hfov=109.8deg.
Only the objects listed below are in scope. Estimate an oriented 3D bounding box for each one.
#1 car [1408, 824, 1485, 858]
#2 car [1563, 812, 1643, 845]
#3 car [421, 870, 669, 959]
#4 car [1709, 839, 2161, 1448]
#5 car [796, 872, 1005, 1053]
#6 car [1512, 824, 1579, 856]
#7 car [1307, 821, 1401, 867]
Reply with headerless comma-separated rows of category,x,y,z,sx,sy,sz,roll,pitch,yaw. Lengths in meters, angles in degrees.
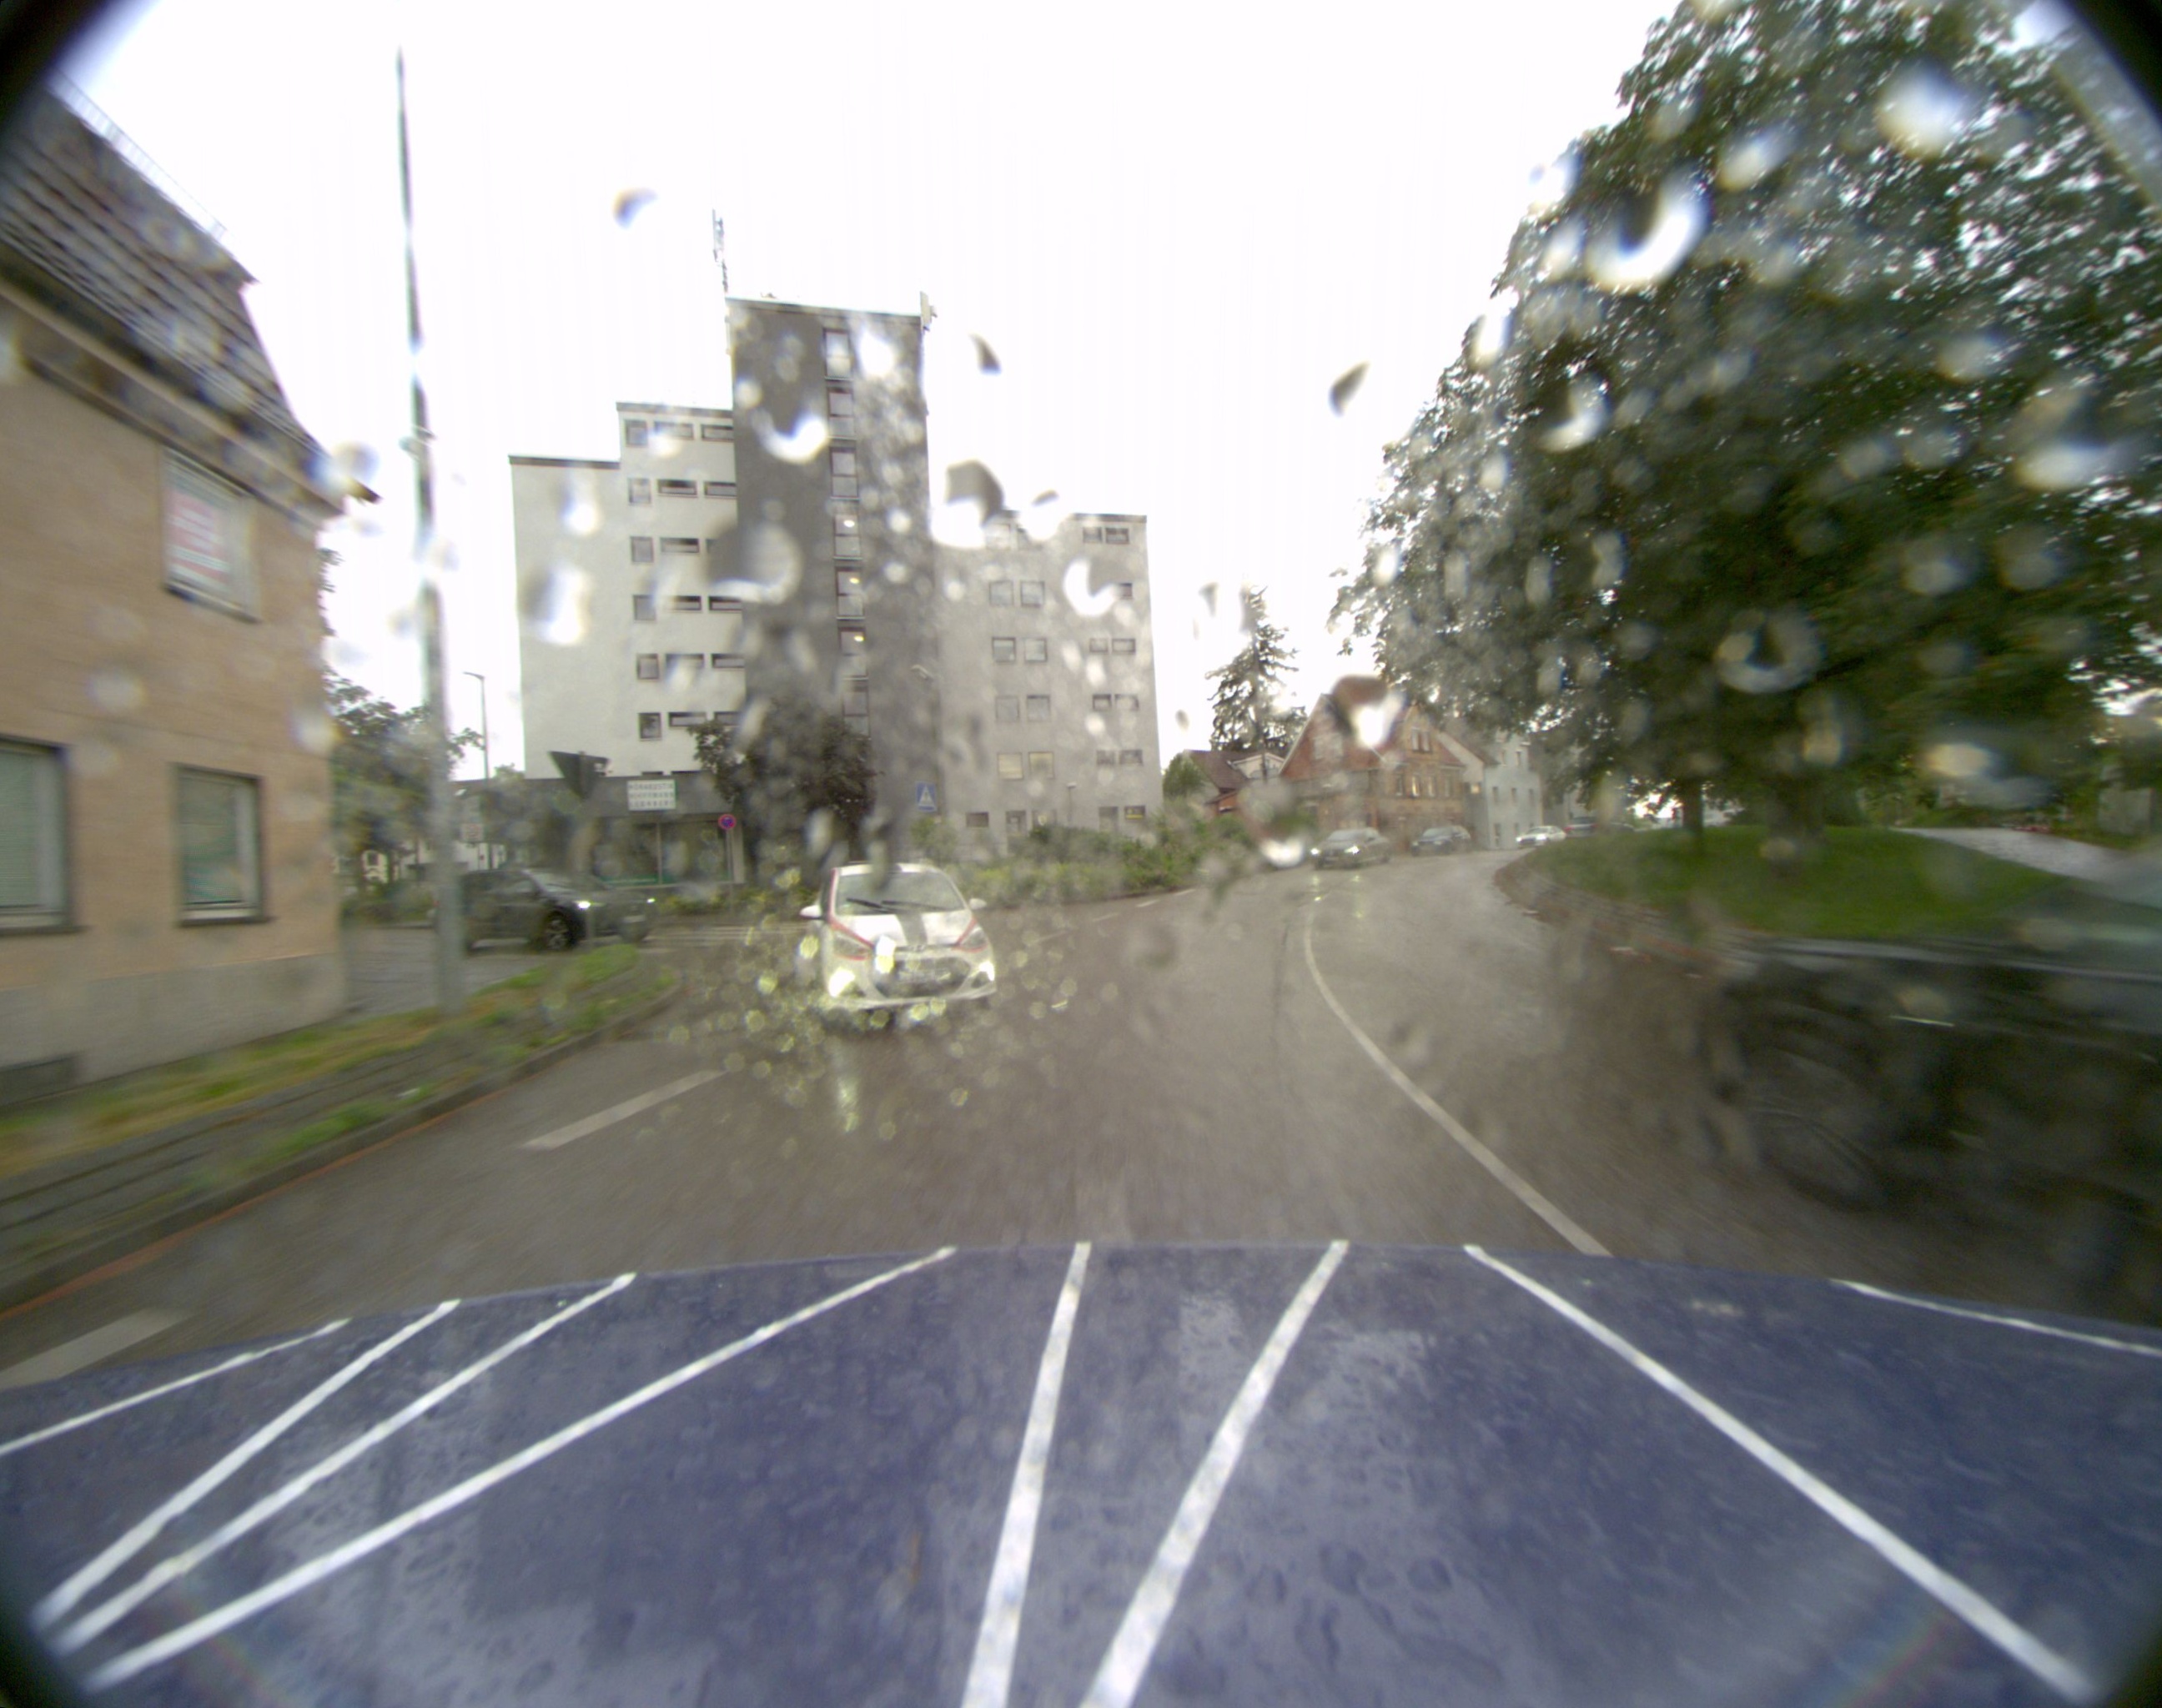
car,18.078,-0.581,37.452,4.956,1.338,1.787,2,-6,-44
car,27.135,-1.344,39.456,4.306,1.534,1.729,-3,2,-30
car,-10.915,1.173,15.512,4.410,1.564,1.721,-1,2,17
car,3.718,0.744,1.277,1.898,1.586,4.356,-1,0,3
car,-2.229,0.978,8.554,1.714,1.444,3.757,-3,0,-22
car,29.273,-0.824,47.812,4.955,1.648,1.898,2,-6,-38
car,10.888,-0.334,30.069,1.835,1.504,4.859,-7,-5,39
